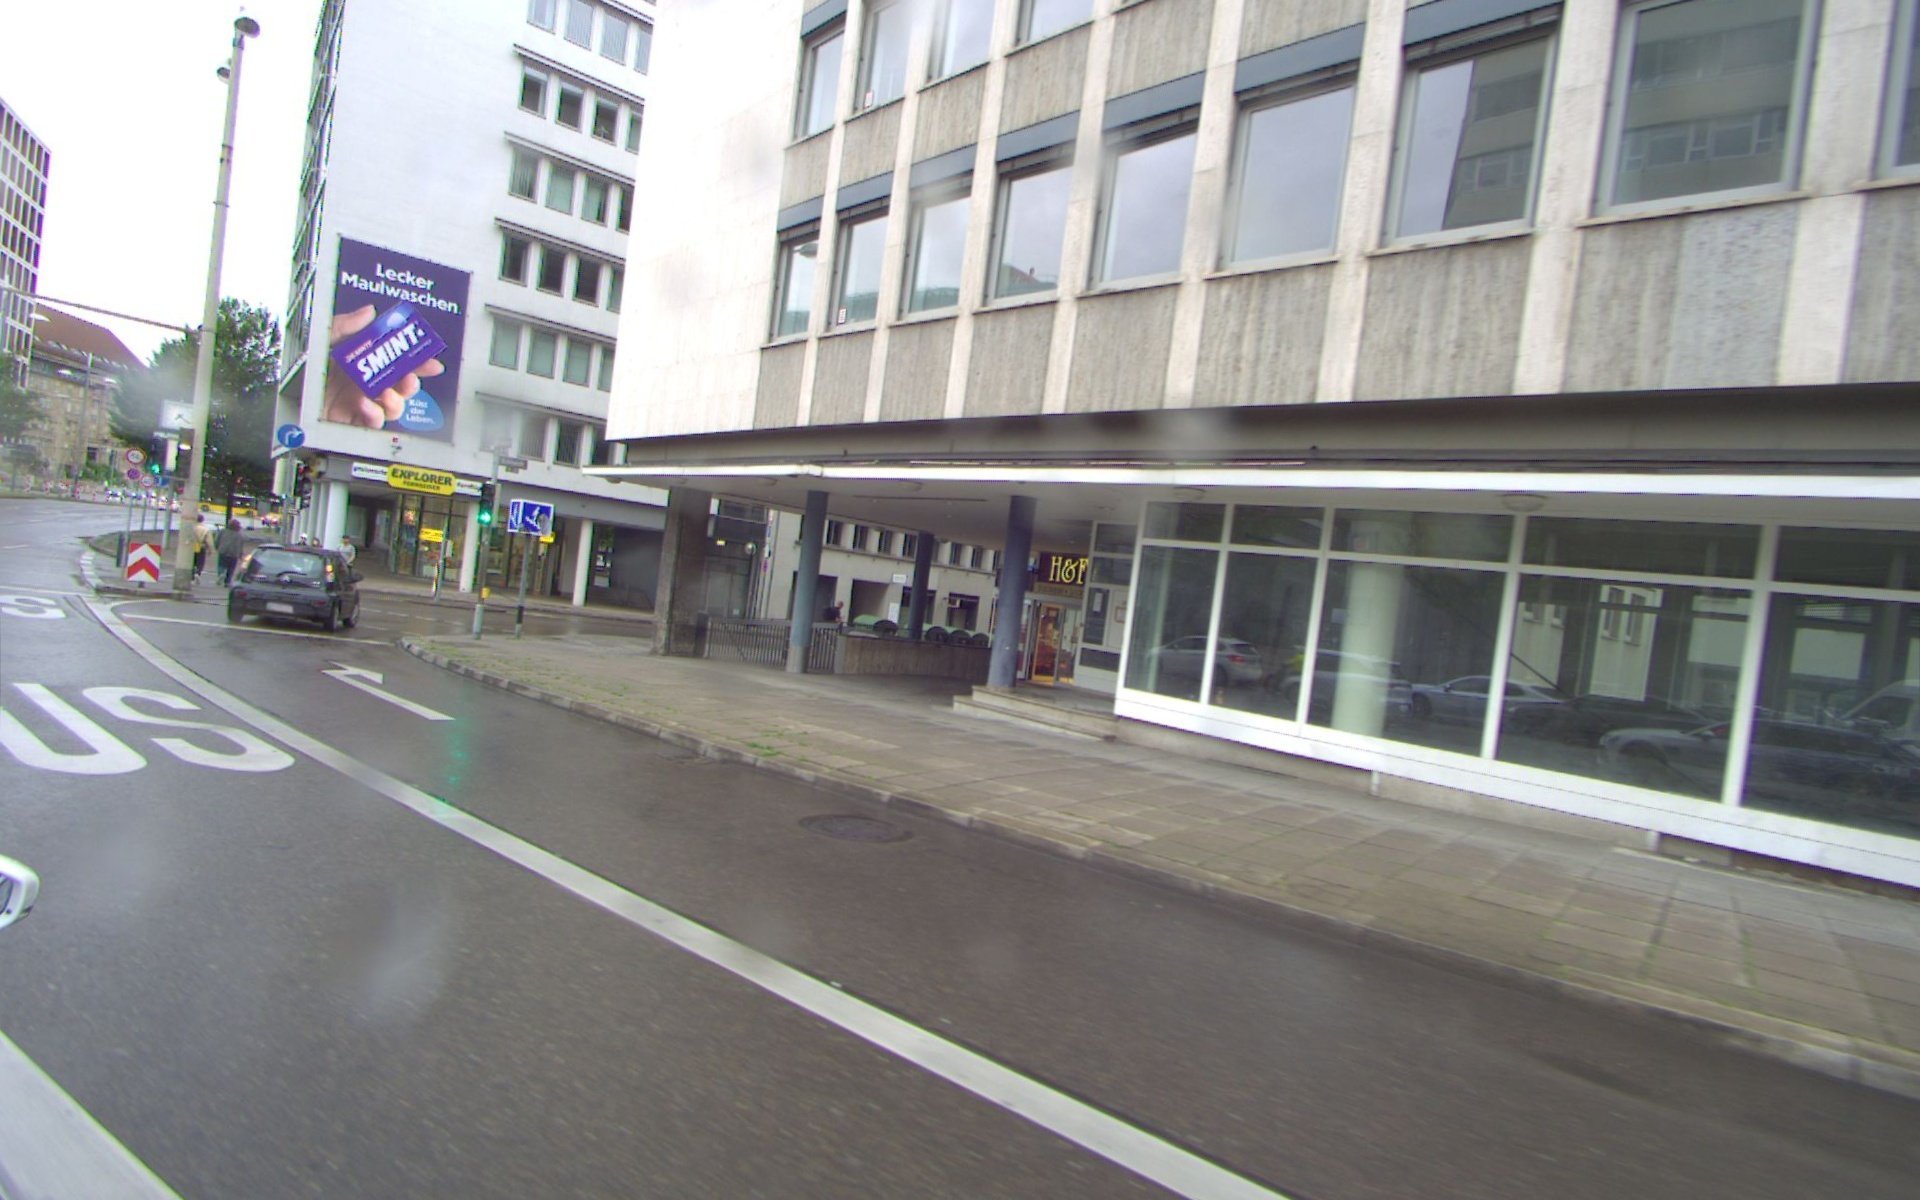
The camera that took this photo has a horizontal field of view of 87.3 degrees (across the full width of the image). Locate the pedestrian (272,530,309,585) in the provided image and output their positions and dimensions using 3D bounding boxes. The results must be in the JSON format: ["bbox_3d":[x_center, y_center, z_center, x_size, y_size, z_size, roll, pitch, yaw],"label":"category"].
[{"bbox_3d":[-21.731,-1.357,32.651,0.660,1.675,0.651,7,0,-15],"label":"pedestrian"}]

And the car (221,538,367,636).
[{"bbox_3d":[-12.276,-0.234,18.784,1.556,1.445,3.977,8,-2,-25],"label":"car"}]

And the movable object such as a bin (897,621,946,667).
[{"bbox_3d":[-1.333,1.514,34.789,1.095,1.399,1.186,7,0,-37],"label":"movable object such as a bin"}]

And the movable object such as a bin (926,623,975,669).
[{"bbox_3d":[-0.340,1.627,35.570,1.095,1.399,1.186,7,0,-37],"label":"movable object such as a bin"}]

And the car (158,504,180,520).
[{"bbox_3d":[-98.936,-10.985,125.865,1.878,1.662,3.962,8,-1,-36],"label":"car"}]

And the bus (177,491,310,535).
[{"bbox_3d":[-114.738,-13.830,161.715,16.849,4.109,4.403,9,-2,-32],"label":"bus"}]

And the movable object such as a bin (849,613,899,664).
[{"bbox_3d":[-2.848,1.262,33.128,0.961,1.447,1.268,7,0,-37],"label":"movable object such as a bin"}]

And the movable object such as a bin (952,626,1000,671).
[{"bbox_3d":[0.562,1.749,36.263,1.095,1.399,1.186,7,0,-37],"label":"movable object such as a bin"}]

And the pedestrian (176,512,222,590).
[{"bbox_3d":[-18.986,-1.233,25.101,0.745,1.820,0.808,7,1,-38],"label":"pedestrian"}]

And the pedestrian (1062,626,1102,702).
[{"bbox_3d":[3.111,1.622,25.576,0.697,1.825,0.801,7,0,13],"label":"pedestrian"}]

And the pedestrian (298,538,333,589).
[{"bbox_3d":[-21.111,-1.195,32.966,0.616,1.561,0.651,7,0,-15],"label":"pedestrian"}]

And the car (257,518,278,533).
[{"bbox_3d":[-92.030,-9.906,133.727,1.680,1.503,3.973,8,-2,-28],"label":"car"}]

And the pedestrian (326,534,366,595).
[{"bbox_3d":[-19.127,-1.092,31.347,0.660,1.815,0.771,7,0,-15],"label":"pedestrian"}]

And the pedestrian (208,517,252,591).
[{"bbox_3d":[-19.088,-1.214,26.302,0.745,1.820,0.808,7,1,-38],"label":"pedestrian"}]

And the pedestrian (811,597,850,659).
[{"bbox_3d":[-3.884,0.835,30.097,0.768,1.752,0.589,7,0,-45],"label":"pedestrian"}]
